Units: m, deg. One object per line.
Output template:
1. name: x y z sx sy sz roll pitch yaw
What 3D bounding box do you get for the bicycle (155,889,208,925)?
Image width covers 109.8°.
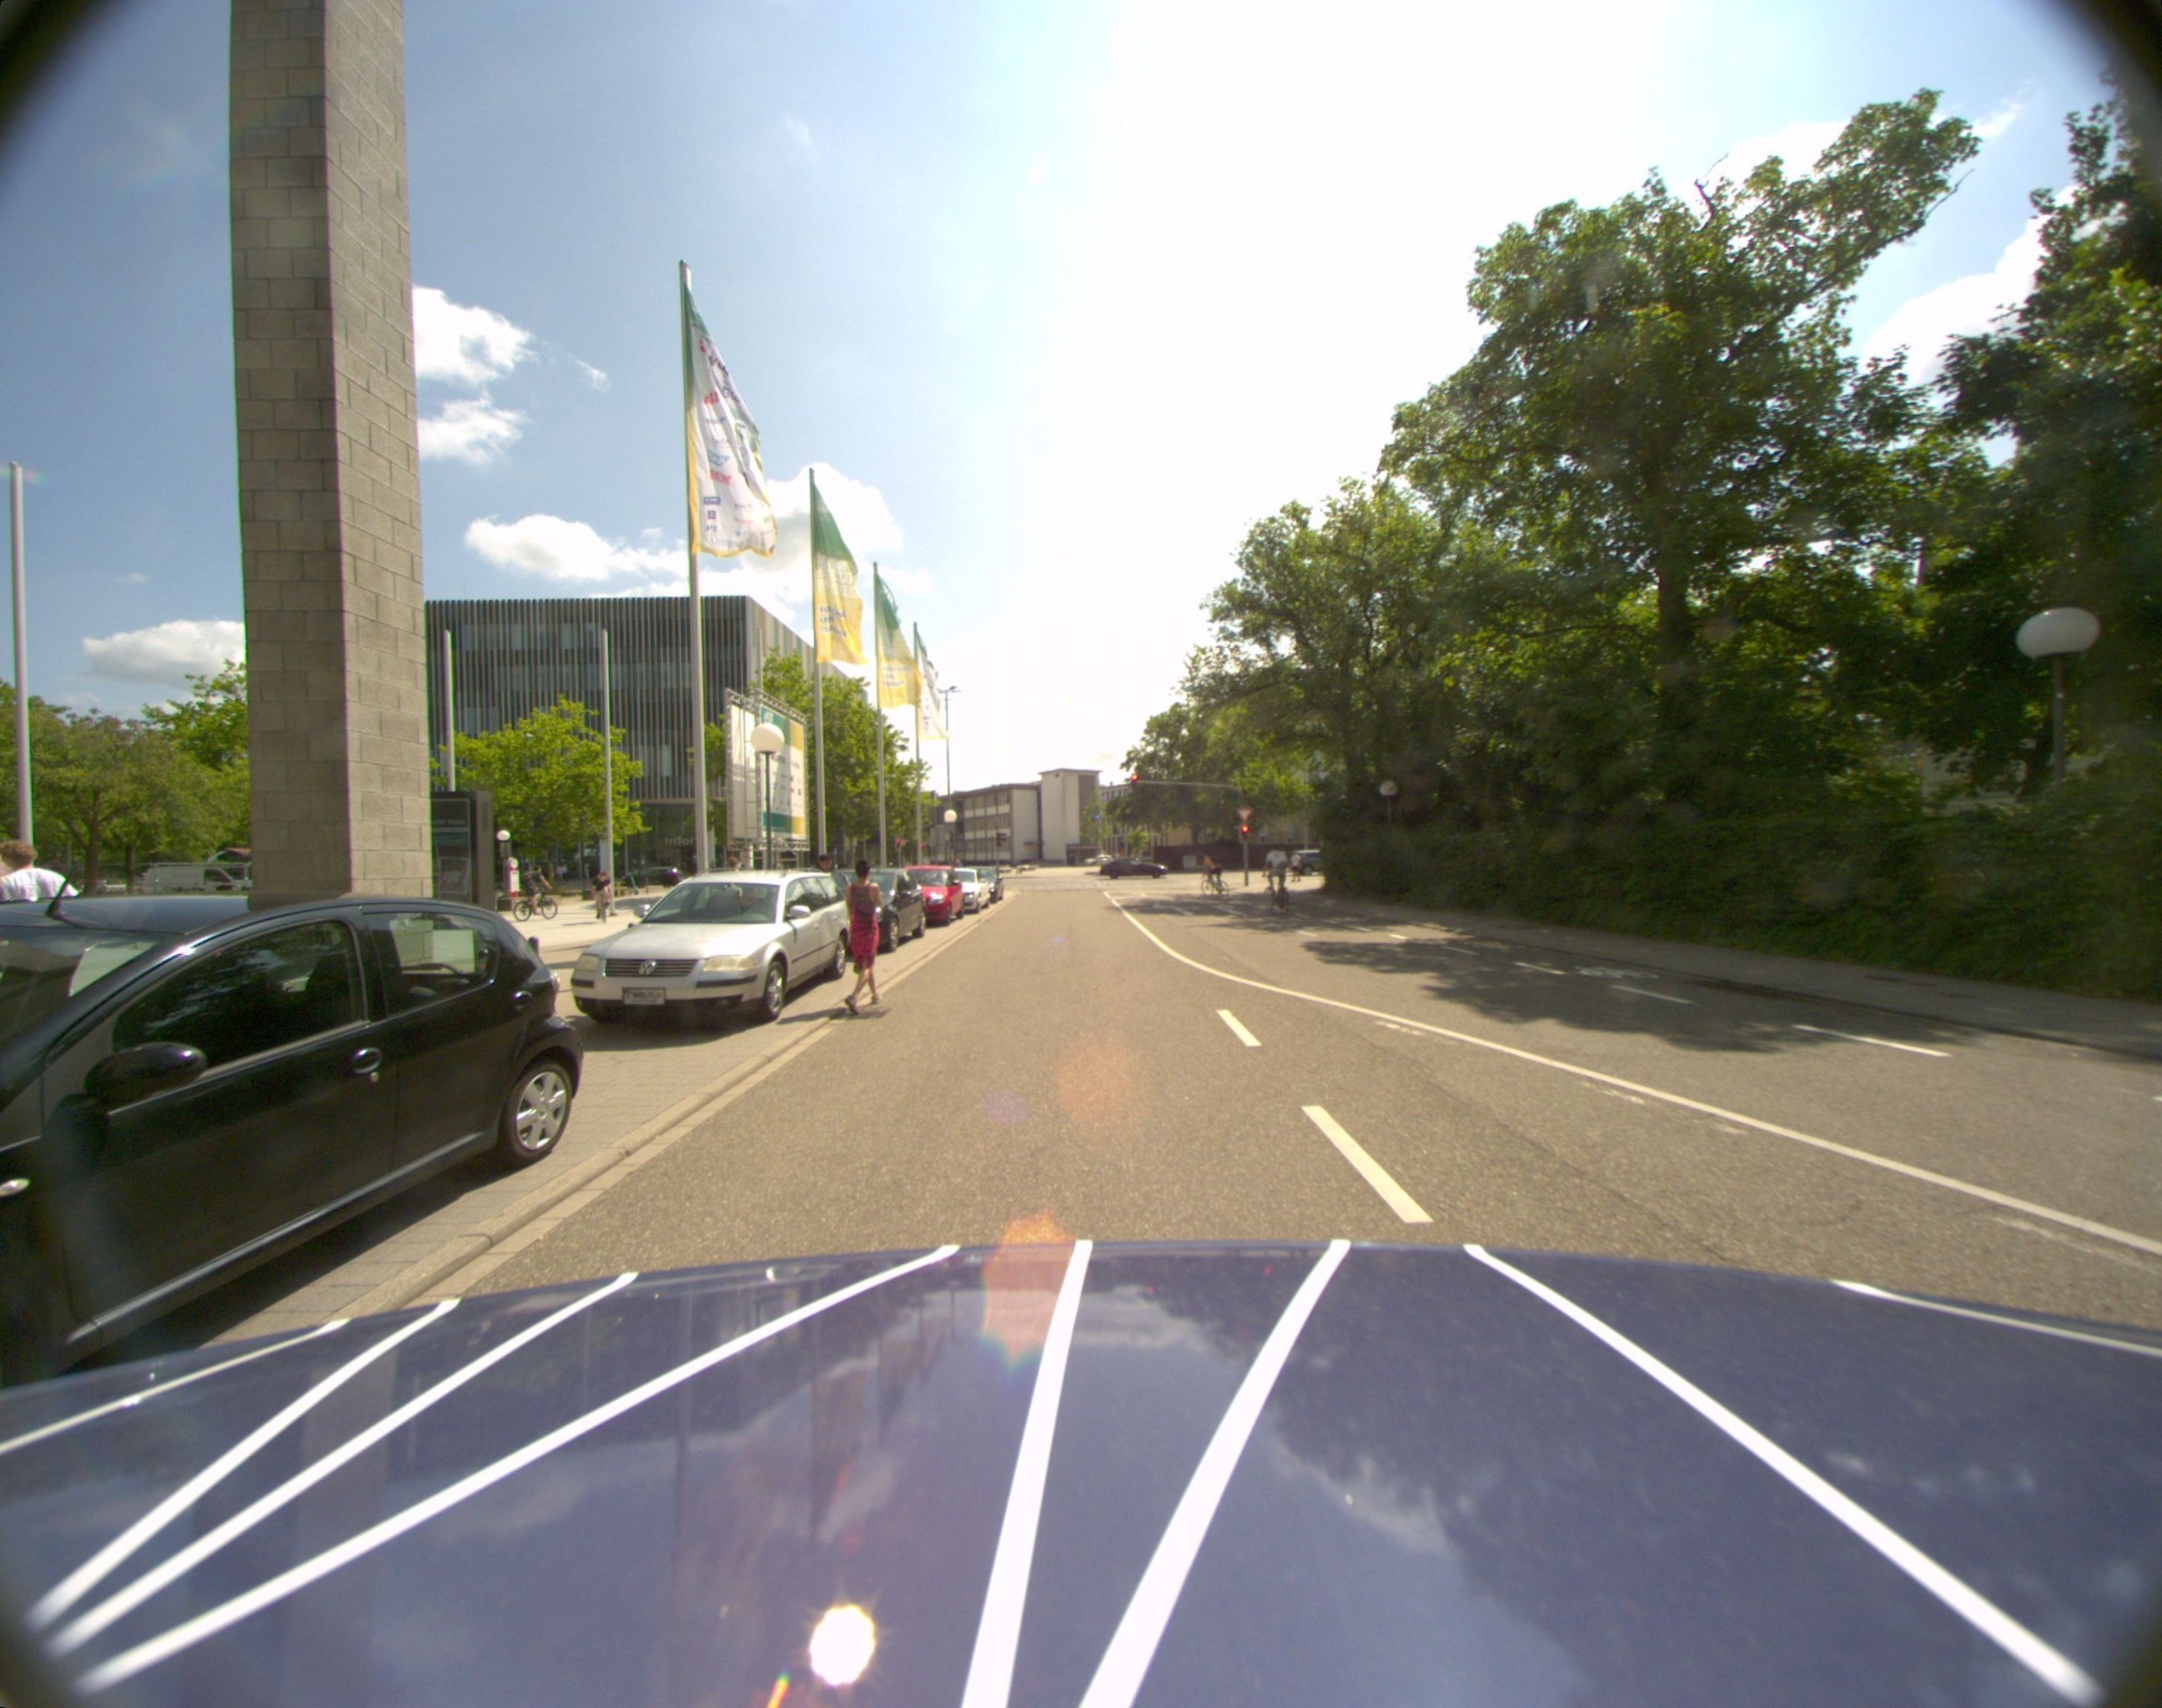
1. bicycle: -30.474 1.784 25.766 0.605 1.092 1.763 -2 1 -31

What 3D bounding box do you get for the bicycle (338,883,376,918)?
1. bicycle: -26.515 1.684 27.857 0.605 1.093 1.763 -2 3 -31

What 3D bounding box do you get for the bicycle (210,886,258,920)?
1. bicycle: -29.815 1.696 26.771 0.605 1.092 1.763 -2 0 -31

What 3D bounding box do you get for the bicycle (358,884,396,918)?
1. bicycle: -25.588 1.689 27.640 0.605 1.093 1.763 -2 3 -31

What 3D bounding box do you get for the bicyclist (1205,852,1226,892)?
1. bicyclist: 5.390 0.711 30.482 0.694 1.539 1.018 -1 1 3

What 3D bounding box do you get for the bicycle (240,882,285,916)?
1. bicycle: -29.143 1.585 27.091 0.605 1.092 1.763 -2 1 -31

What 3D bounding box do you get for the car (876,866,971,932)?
1. car: -4.029 1.091 20.066 1.618 1.488 4.147 1 0 0

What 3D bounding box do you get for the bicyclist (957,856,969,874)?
1. bicyclist: -10.502 0.974 67.579 0.787 1.529 0.656 -2 1 -25

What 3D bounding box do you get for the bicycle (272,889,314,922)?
1. bicycle: -28.807 1.867 27.811 0.605 1.092 1.763 -2 1 -31

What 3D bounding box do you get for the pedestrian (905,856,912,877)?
1. pedestrian: -14.944 1.085 65.829 0.575 1.831 0.415 -1 2 -6

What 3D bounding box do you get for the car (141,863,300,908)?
1. car: -40.035 1.437 35.463 4.939 1.854 1.903 -1 1 -4

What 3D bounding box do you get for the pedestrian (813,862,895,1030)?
1. pedestrian: -2.462 0.953 8.345 0.624 1.707 1.040 -1 1 -4

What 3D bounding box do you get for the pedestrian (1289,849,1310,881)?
1. pedestrian: 12.008 0.605 41.783 0.930 1.690 0.854 -1 -1 2

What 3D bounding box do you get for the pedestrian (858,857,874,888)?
1. pedestrian: -12.667 1.103 44.818 0.594 1.789 0.612 -2 -1 27

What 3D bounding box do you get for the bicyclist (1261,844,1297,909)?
1. bicyclist: 5.405 0.606 20.801 0.694 1.726 0.918 -1 1 -2

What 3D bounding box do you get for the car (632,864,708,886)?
1. car: -31.497 1.612 58.314 4.712 1.520 2.000 -1 0 -1

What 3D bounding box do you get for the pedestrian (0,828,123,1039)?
1. pedestrian: -9.903 0.725 7.205 0.785 1.914 0.593 -1 1 -3

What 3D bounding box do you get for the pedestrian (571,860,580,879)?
1. pedestrian: -51.775 1.575 77.821 0.554 1.831 0.561 -1 2 -8

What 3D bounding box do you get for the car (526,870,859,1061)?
1. car: -3.970 1.002 8.763 1.724 1.520 4.565 0 0 -3

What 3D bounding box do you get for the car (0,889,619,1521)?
1. car: -3.611 0.975 2.666 1.618 1.488 4.005 -1 0 -2

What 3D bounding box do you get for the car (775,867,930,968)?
1. car: -4.099 1.068 14.342 1.723 1.520 3.999 -1 0 -1

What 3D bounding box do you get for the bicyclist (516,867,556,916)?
1. bicyclist: -17.959 1.231 25.056 0.682 1.559 0.879 -1 -1 -1

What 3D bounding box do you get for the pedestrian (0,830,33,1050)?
1. pedestrian: -9.817 0.755 6.432 0.784 1.914 0.734 -1 1 -1

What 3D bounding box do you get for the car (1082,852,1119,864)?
1. car: 2.525 0.500 99.122 4.501 1.299 1.995 -2 2 -33

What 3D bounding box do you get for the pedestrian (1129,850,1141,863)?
1. pedestrian: 6.966 0.299 97.866 1.297 1.641 1.327 -1 1 12

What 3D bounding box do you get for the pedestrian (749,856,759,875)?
1. pedestrian: -32.531 1.126 75.513 0.789 1.831 0.516 -2 1 -17

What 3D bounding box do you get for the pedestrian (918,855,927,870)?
1. pedestrian: -18.918 0.973 90.773 0.675 1.779 0.845 -1 1 39

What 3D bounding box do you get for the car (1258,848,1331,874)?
1. car: 14.443 0.458 51.599 4.473 1.669 1.825 -1 1 4

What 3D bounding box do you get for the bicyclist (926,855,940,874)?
1. bicyclist: -12.902 0.948 66.247 1.001 1.606 0.656 -2 1 -29

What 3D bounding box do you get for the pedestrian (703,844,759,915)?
1. pedestrian: -8.779 0.620 19.089 0.920 1.730 1.001 -1 1 -1

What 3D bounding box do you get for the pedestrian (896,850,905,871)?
1. pedestrian: -15.597 0.572 65.660 0.633 1.831 0.479 -2 2 -15

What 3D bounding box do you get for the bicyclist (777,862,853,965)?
1. bicyclist: -4.152 0.912 11.920 0.932 1.555 0.663 -1 0 -1

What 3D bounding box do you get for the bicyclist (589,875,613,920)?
1. bicyclist: -14.557 1.313 23.037 0.609 1.312 0.741 -1 -1 -33

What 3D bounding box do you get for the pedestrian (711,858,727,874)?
1. pedestrian: -38.165 1.276 80.126 1.014 1.641 1.182 -1 1 0

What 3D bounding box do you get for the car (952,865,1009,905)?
1. car: -4.014 1.186 30.942 1.723 1.392 4.948 1 0 -1

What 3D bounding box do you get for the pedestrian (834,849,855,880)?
1. pedestrian: -13.899 0.632 44.692 0.856 1.808 1.176 1 -3 -2

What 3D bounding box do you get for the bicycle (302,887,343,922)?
1. bicycle: -27.995 1.844 28.064 0.605 1.093 1.763 -2 3 -31

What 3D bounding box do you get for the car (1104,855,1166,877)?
1. car: 3.729 0.830 52.223 4.186 1.407 1.831 -1 1 5

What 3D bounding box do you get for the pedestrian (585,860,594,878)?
1. pedestrian: -50.174 1.556 77.528 0.554 1.831 0.561 -1 2 -8

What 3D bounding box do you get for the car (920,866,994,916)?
1. car: -3.960 1.148 24.930 1.723 1.392 4.438 1 0 -1
